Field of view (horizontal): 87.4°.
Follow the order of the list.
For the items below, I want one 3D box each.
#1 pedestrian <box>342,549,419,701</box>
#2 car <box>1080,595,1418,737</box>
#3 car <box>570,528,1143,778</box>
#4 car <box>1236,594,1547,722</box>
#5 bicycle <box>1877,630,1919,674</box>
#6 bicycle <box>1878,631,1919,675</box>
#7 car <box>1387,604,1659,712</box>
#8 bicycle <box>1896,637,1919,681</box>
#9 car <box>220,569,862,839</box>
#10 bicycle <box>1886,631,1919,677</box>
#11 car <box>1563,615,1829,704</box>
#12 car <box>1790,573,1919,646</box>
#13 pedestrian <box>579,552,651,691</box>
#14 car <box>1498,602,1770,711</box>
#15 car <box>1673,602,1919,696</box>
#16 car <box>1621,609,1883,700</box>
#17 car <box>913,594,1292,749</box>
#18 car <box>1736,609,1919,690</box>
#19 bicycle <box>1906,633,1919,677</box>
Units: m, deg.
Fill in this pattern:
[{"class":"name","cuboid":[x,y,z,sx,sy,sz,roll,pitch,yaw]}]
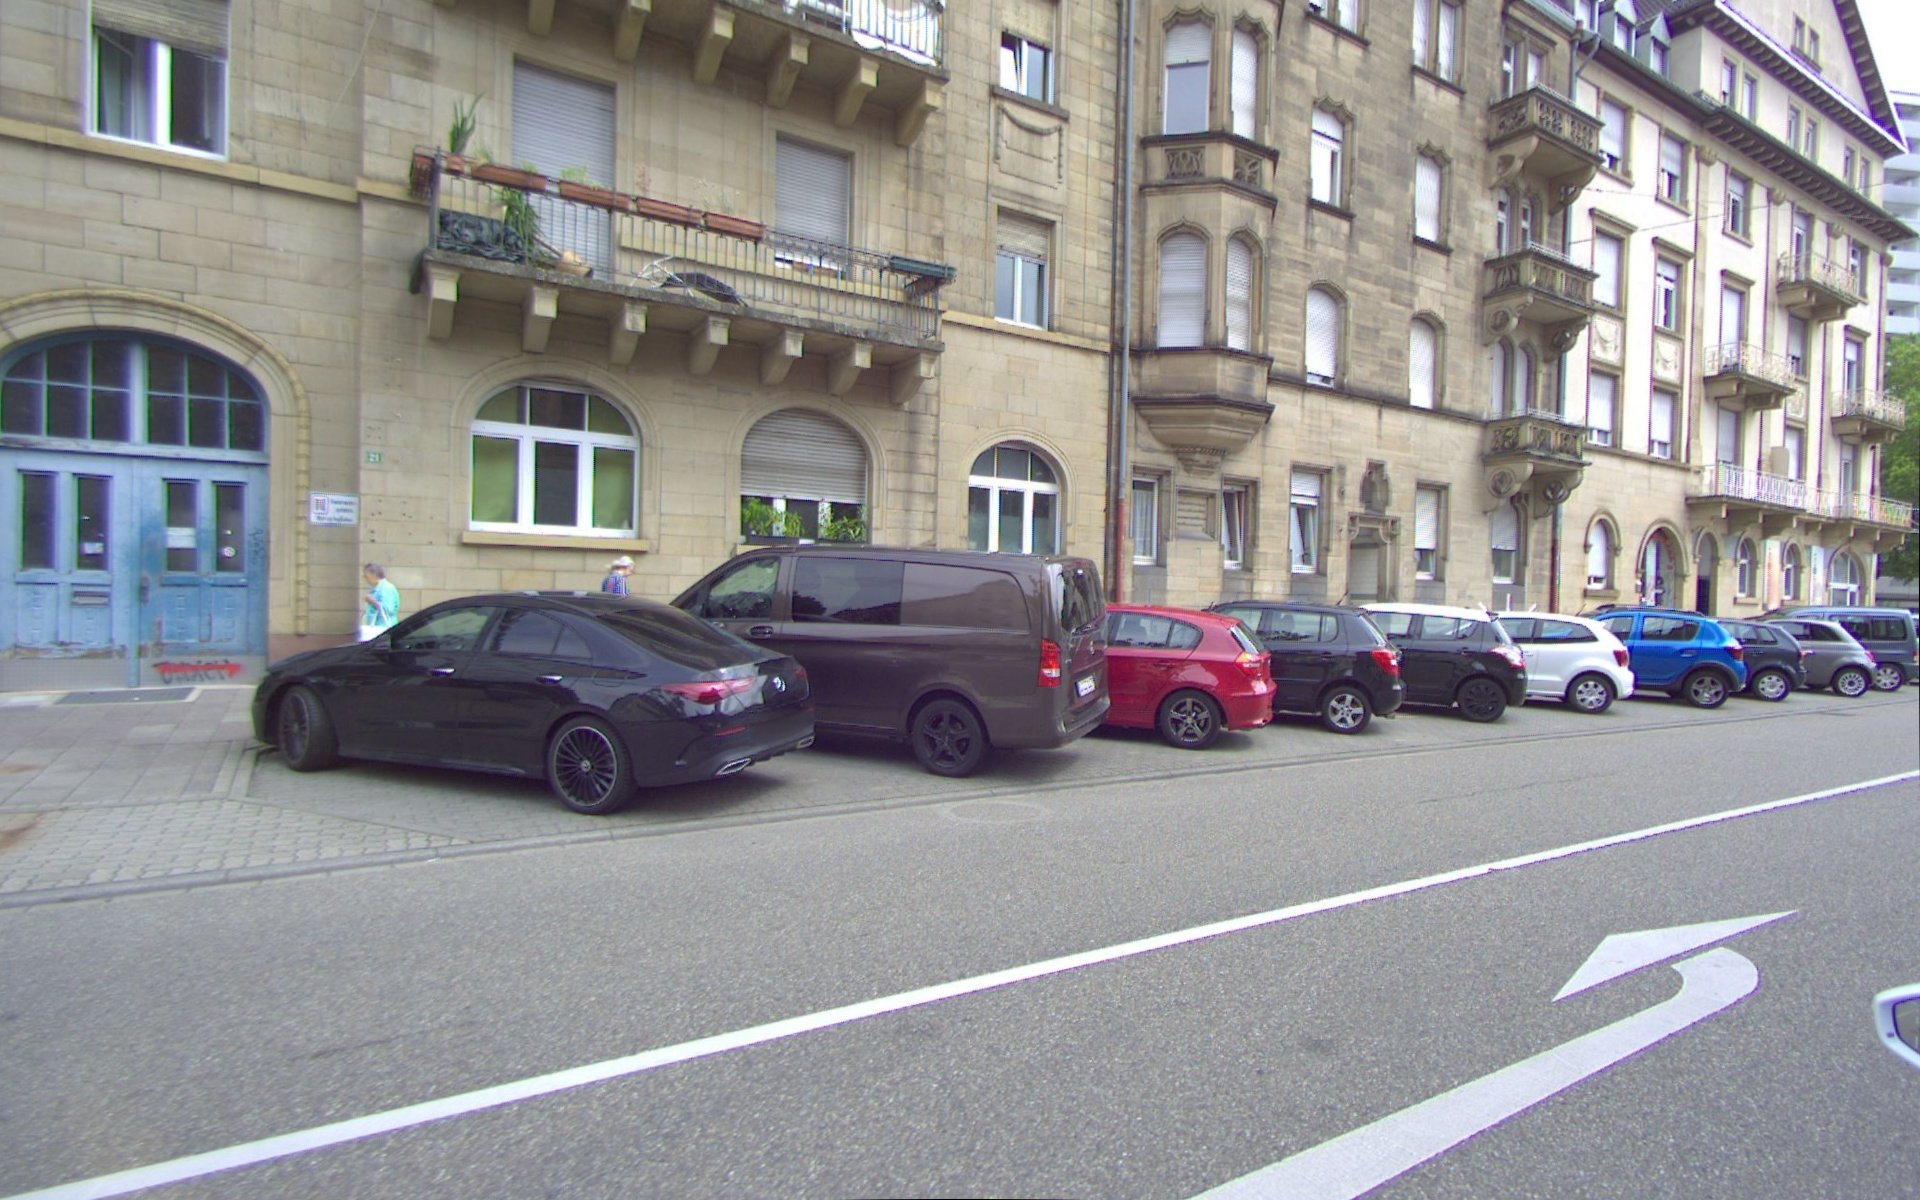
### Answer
[{"class":"pedestrian","cuboid":[-5.961,0.243,10.329,0.653,1.505,0.506,2,0,45]},{"class":"car","cuboid":[3.679,0.752,12.887,3.920,1.523,1.631,2,0,24]},{"class":"car","cuboid":[-1.038,0.357,9.796,5.170,1.935,2.120,2,0,24]},{"class":"car","cuboid":[6.252,0.758,14.757,3.937,1.585,1.795,2,0,27]},{"class":"bicycle","cuboid":[26.833,1.479,27.959,0.589,1.135,1.794,2,2,-39]},{"class":"bicycle","cuboid":[26.358,1.482,27.410,0.589,1.135,1.794,2,2,-39]},{"class":"car","cuboid":[8.905,0.863,16.255,3.614,1.501,1.741,2,0,23]},{"class":"bicycle","cuboid":[25.132,1.535,25.562,0.586,1.135,1.804,2,0,-25]},{"class":"car","cuboid":[-3.292,0.613,7.955,4.580,1.428,1.900,4,3,20]},{"class":"bicycle","cuboid":[26.015,1.485,26.805,0.589,1.182,1.794,2,2,-39]},{"class":"car","cuboid":[14.150,1.094,19.601,3.828,1.463,1.836,2,0,23]},{"class":"car","cuboid":[52.950,0.546,56.544,3.391,3.967,9.906,1,0,-7]},{"class":"pedestrian","cuboid":[-4.027,0.239,11.728,0.641,1.566,0.507,2,0,40]},{"class":"car","cuboid":[11.819,0.932,17.907,3.705,1.674,1.724,2,0,22]},{"class":"car","cuboid":[18.817,1.047,22.770,3.933,1.904,1.797,2,0,20]},{"class":"car","cuboid":[16.575,1.085,21.265,3.933,1.674,1.797,2,0,20]},{"class":"car","cuboid":[1.639,0.710,11.344,3.932,1.428,1.797,2,0,18]},{"class":"car","cuboid":[21.547,1.163,24.344,3.933,1.797,1.797,2,0,20]},{"class":"bicycle","cuboid":[25.720,1.517,25.872,0.586,1.135,1.802,2,4,-27]}]
